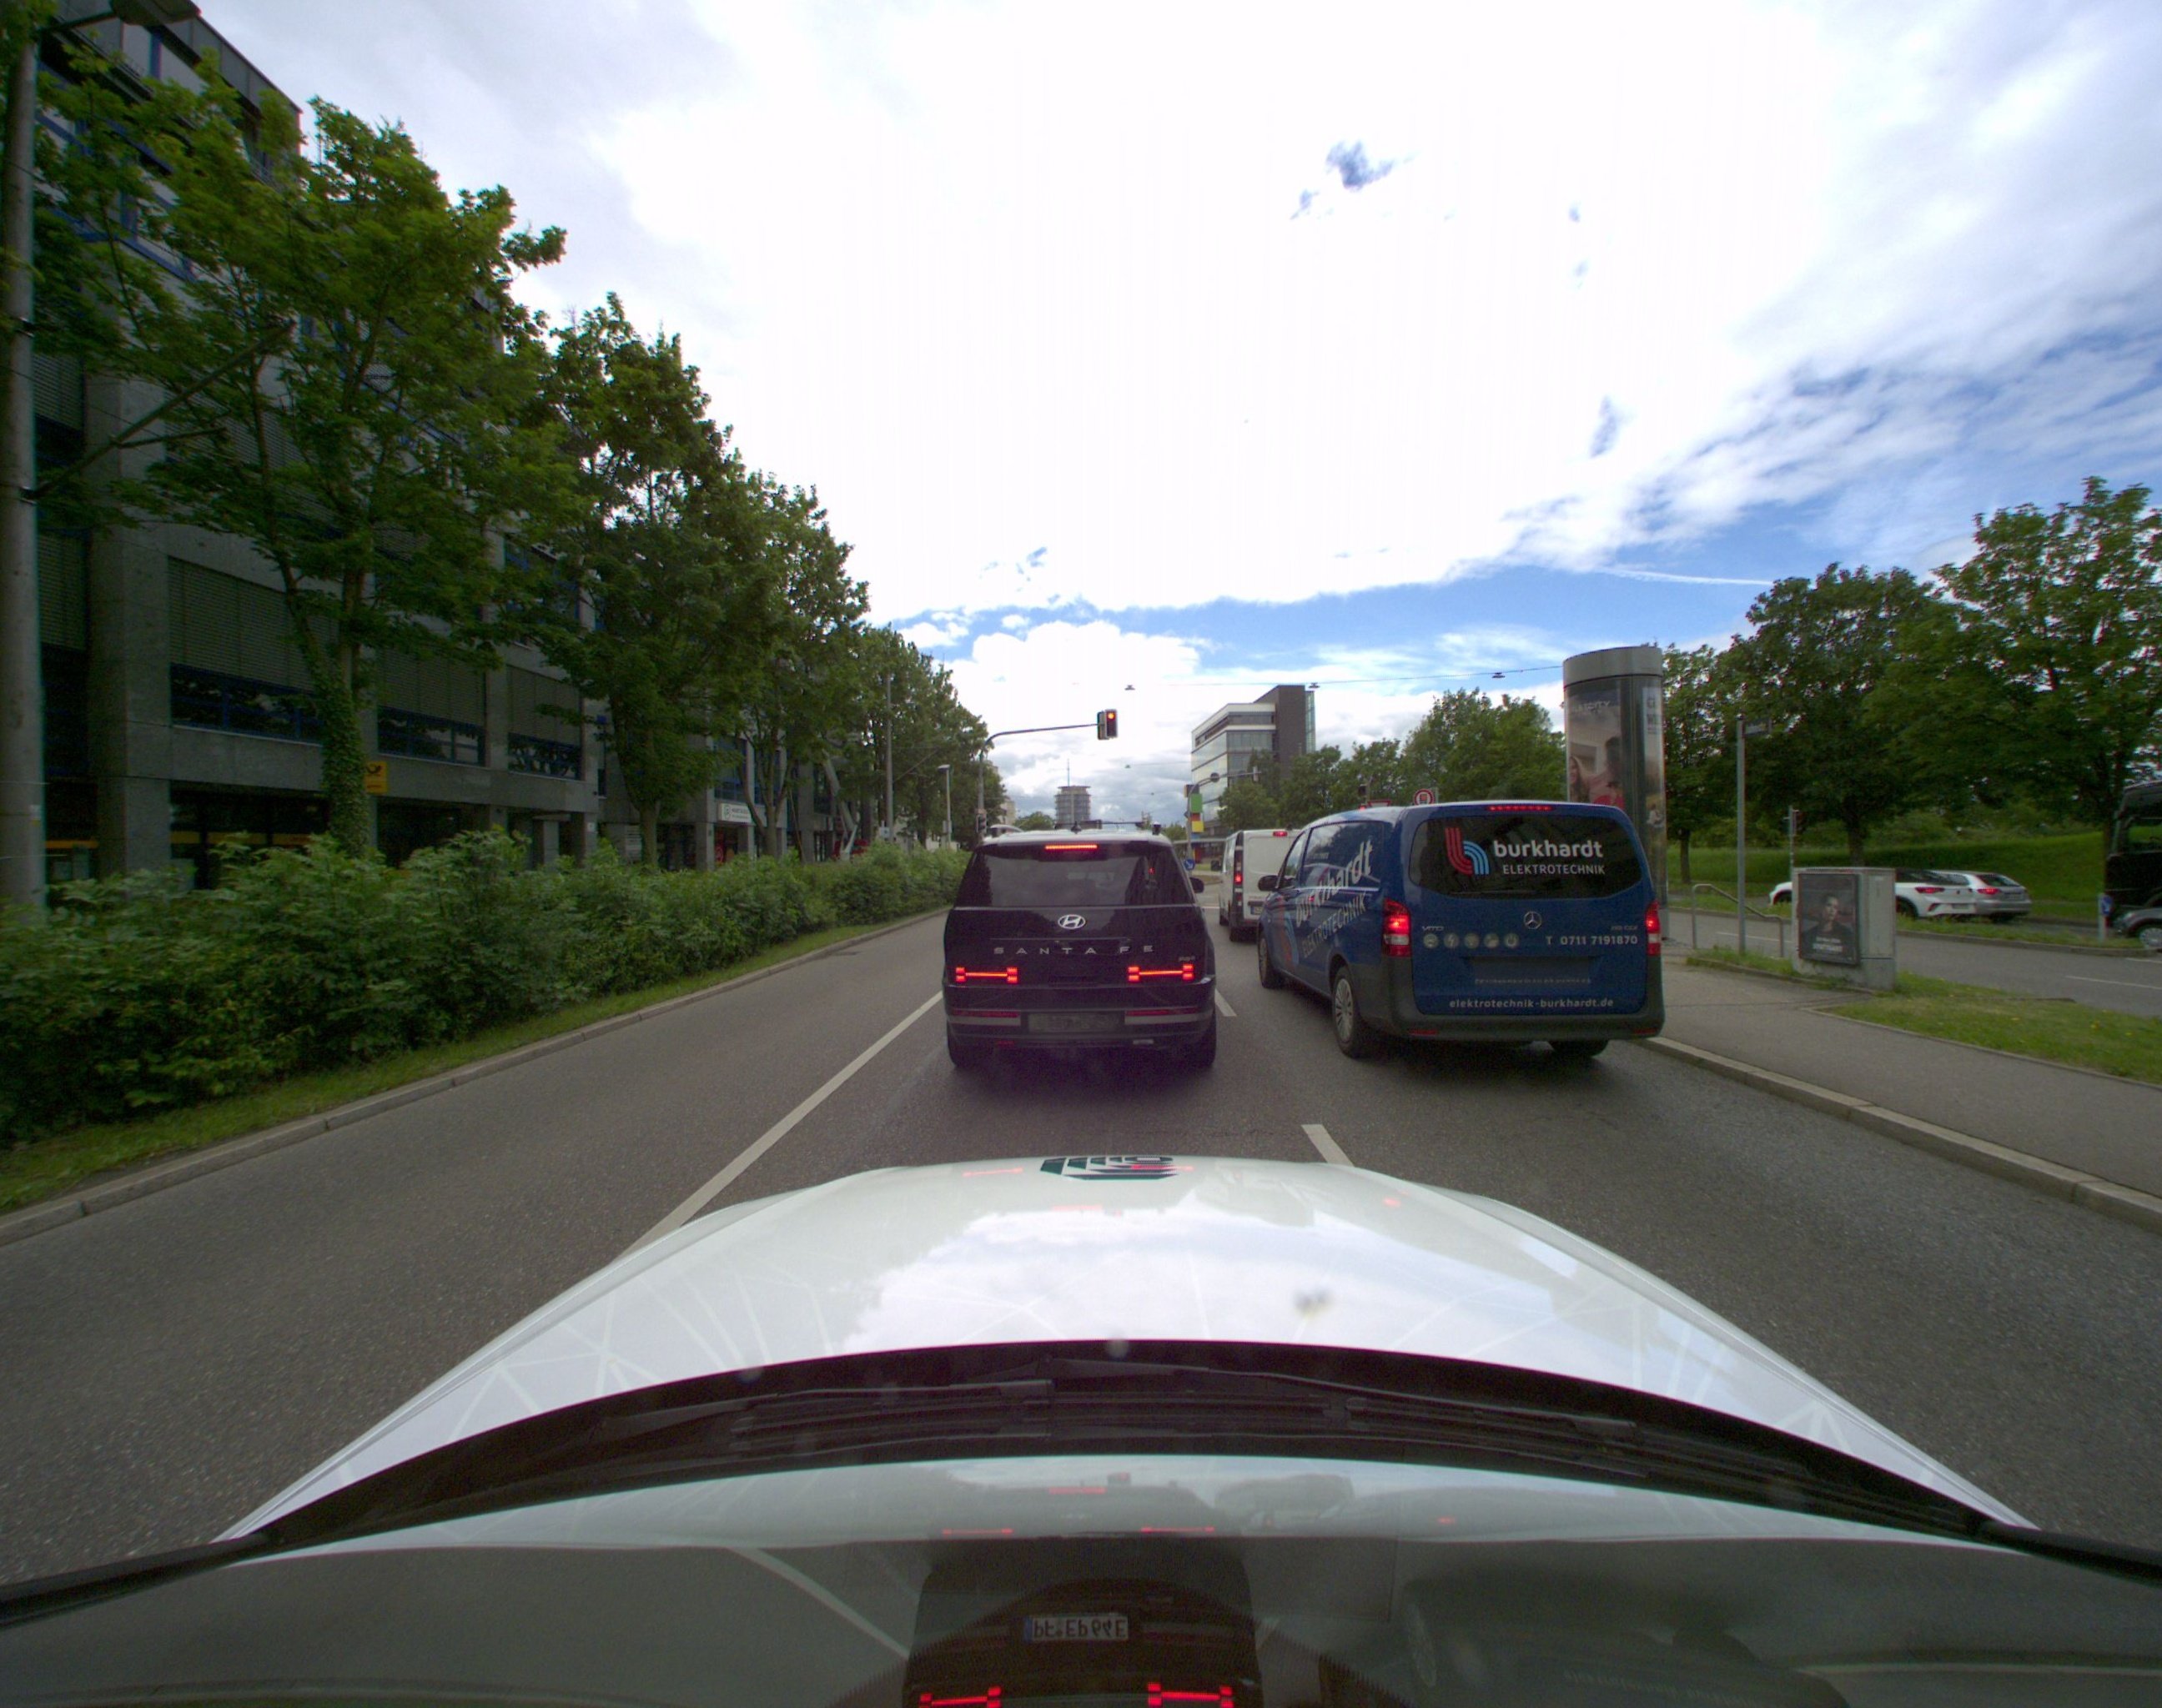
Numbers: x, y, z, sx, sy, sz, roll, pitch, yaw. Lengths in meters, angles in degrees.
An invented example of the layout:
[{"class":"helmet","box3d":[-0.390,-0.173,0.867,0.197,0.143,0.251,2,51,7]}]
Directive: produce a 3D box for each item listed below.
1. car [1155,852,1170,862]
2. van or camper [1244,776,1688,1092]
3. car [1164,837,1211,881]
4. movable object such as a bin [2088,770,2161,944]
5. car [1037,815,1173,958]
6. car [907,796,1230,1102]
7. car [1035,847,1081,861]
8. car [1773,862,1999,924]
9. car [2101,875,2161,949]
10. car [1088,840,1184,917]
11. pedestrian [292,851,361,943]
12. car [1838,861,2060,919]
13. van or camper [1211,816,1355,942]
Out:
[{"class":"car","box3d":[13.175,0.484,131.713,1.987,1.684,3.998,-1,-1,-1]},{"class":"van or camper","box3d":[2.882,0.497,7.562,1.853,1.911,5.034,-1,0,2]},{"class":"car","box3d":[5.243,0.254,40.443,1.985,2.014,4.003,-1,-1,3]},{"class":"movable object such as a bin","box3d":[26.264,0.004,15.506,2.860,3.903,8.536,-1,-1,-11]},{"class":"car","box3d":[0.406,0.461,13.610,1.908,2.003,3.881,-1,0,2]},{"class":"car","box3d":[-0.012,0.561,6.742,1.862,1.760,3.881,-1,0,2]},{"class":"car","box3d":[-2.717,0.008,94.960,5.271,1.596,1.997,-1,-1,-4]},{"class":"car","box3d":[21.771,1.009,22.276,1.994,1.453,3.985,1,0,-11]},{"class":"car","box3d":[23.009,1.212,15.525,1.994,1.453,3.985,1,0,-11]},{"class":"car","box3d":[1.497,0.582,20.527,1.764,1.717,4.353,-1,-1,12]},{"class":"pedestrian","box3d":[-15.993,0.898,17.280,0.771,1.894,0.731,-1,-1,1]},{"class":"car","box3d":[25.104,0.989,23.774,1.994,1.453,3.985,1,0,-11]},{"class":"van or camper","box3d":[3.621,0.412,15.450,1.984,2.013,4.660,-1,0,6]}]
